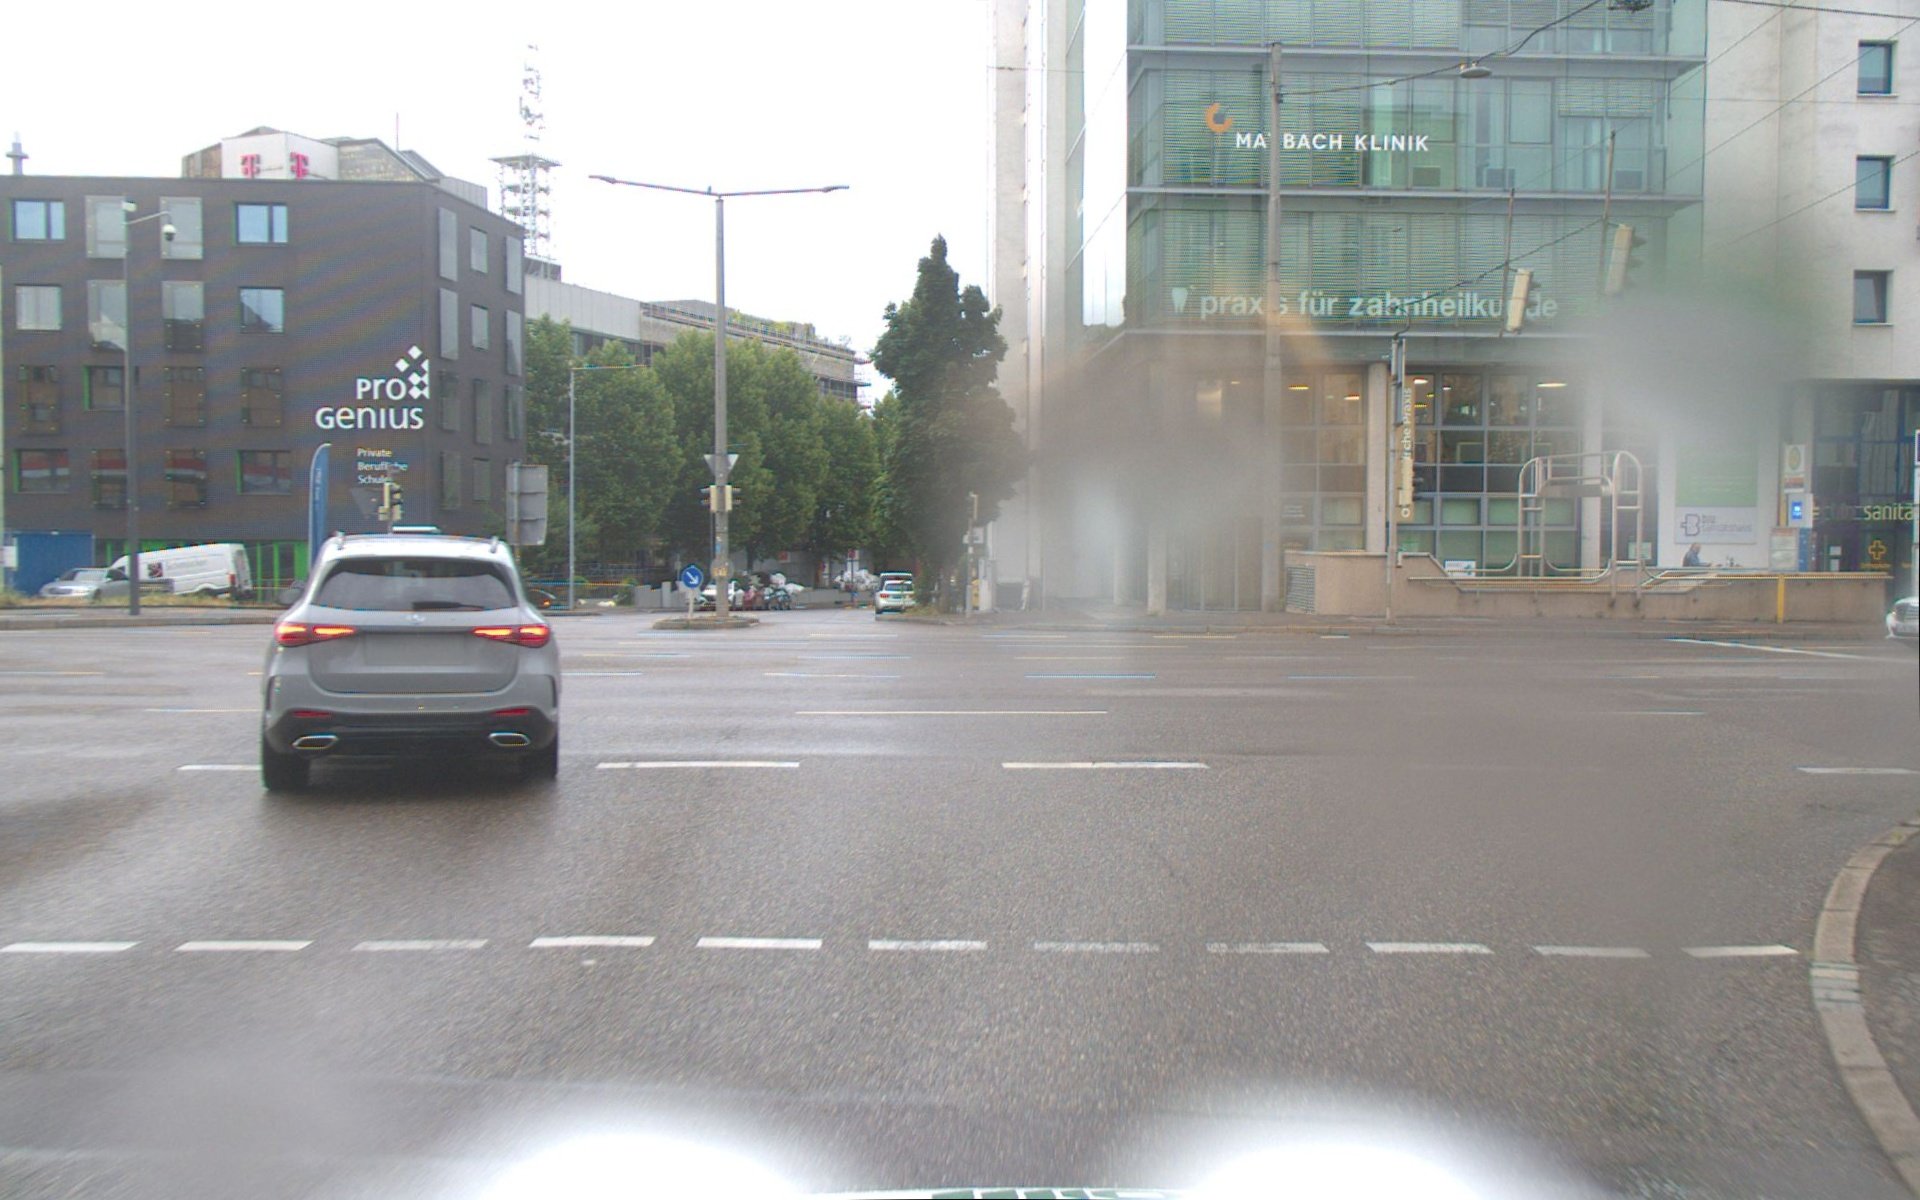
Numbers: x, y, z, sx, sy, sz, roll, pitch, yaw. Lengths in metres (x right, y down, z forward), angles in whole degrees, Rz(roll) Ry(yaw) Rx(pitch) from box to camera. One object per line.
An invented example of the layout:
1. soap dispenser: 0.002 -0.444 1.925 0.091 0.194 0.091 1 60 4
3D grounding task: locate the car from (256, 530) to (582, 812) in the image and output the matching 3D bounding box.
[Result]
1. car: -3.928 0.331 12.019 1.880 1.660 4.188 0 2 -19

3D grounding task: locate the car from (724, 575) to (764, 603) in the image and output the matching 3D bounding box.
1. car: -12.906 -0.648 98.901 1.644 1.622 3.858 2 0 3

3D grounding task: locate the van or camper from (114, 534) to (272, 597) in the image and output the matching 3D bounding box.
1. van or camper: -31.962 -1.420 69.081 5.224 2.410 2.737 2 0 -4

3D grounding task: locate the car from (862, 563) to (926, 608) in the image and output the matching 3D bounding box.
1. car: -2.792 -0.609 68.884 1.959 1.747 3.988 2 0 -12

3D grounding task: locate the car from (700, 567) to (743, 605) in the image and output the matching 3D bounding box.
1. car: -13.480 -0.801 93.708 1.954 2.049 3.998 2 0 -3

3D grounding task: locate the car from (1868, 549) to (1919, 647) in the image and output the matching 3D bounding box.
1. car: 16.325 -0.029 24.485 4.849 1.411 1.822 0 2 -4

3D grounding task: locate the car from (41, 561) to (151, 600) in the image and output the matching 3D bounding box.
1. car: -30.977 -0.681 59.437 1.759 1.310 4.001 2 0 1
